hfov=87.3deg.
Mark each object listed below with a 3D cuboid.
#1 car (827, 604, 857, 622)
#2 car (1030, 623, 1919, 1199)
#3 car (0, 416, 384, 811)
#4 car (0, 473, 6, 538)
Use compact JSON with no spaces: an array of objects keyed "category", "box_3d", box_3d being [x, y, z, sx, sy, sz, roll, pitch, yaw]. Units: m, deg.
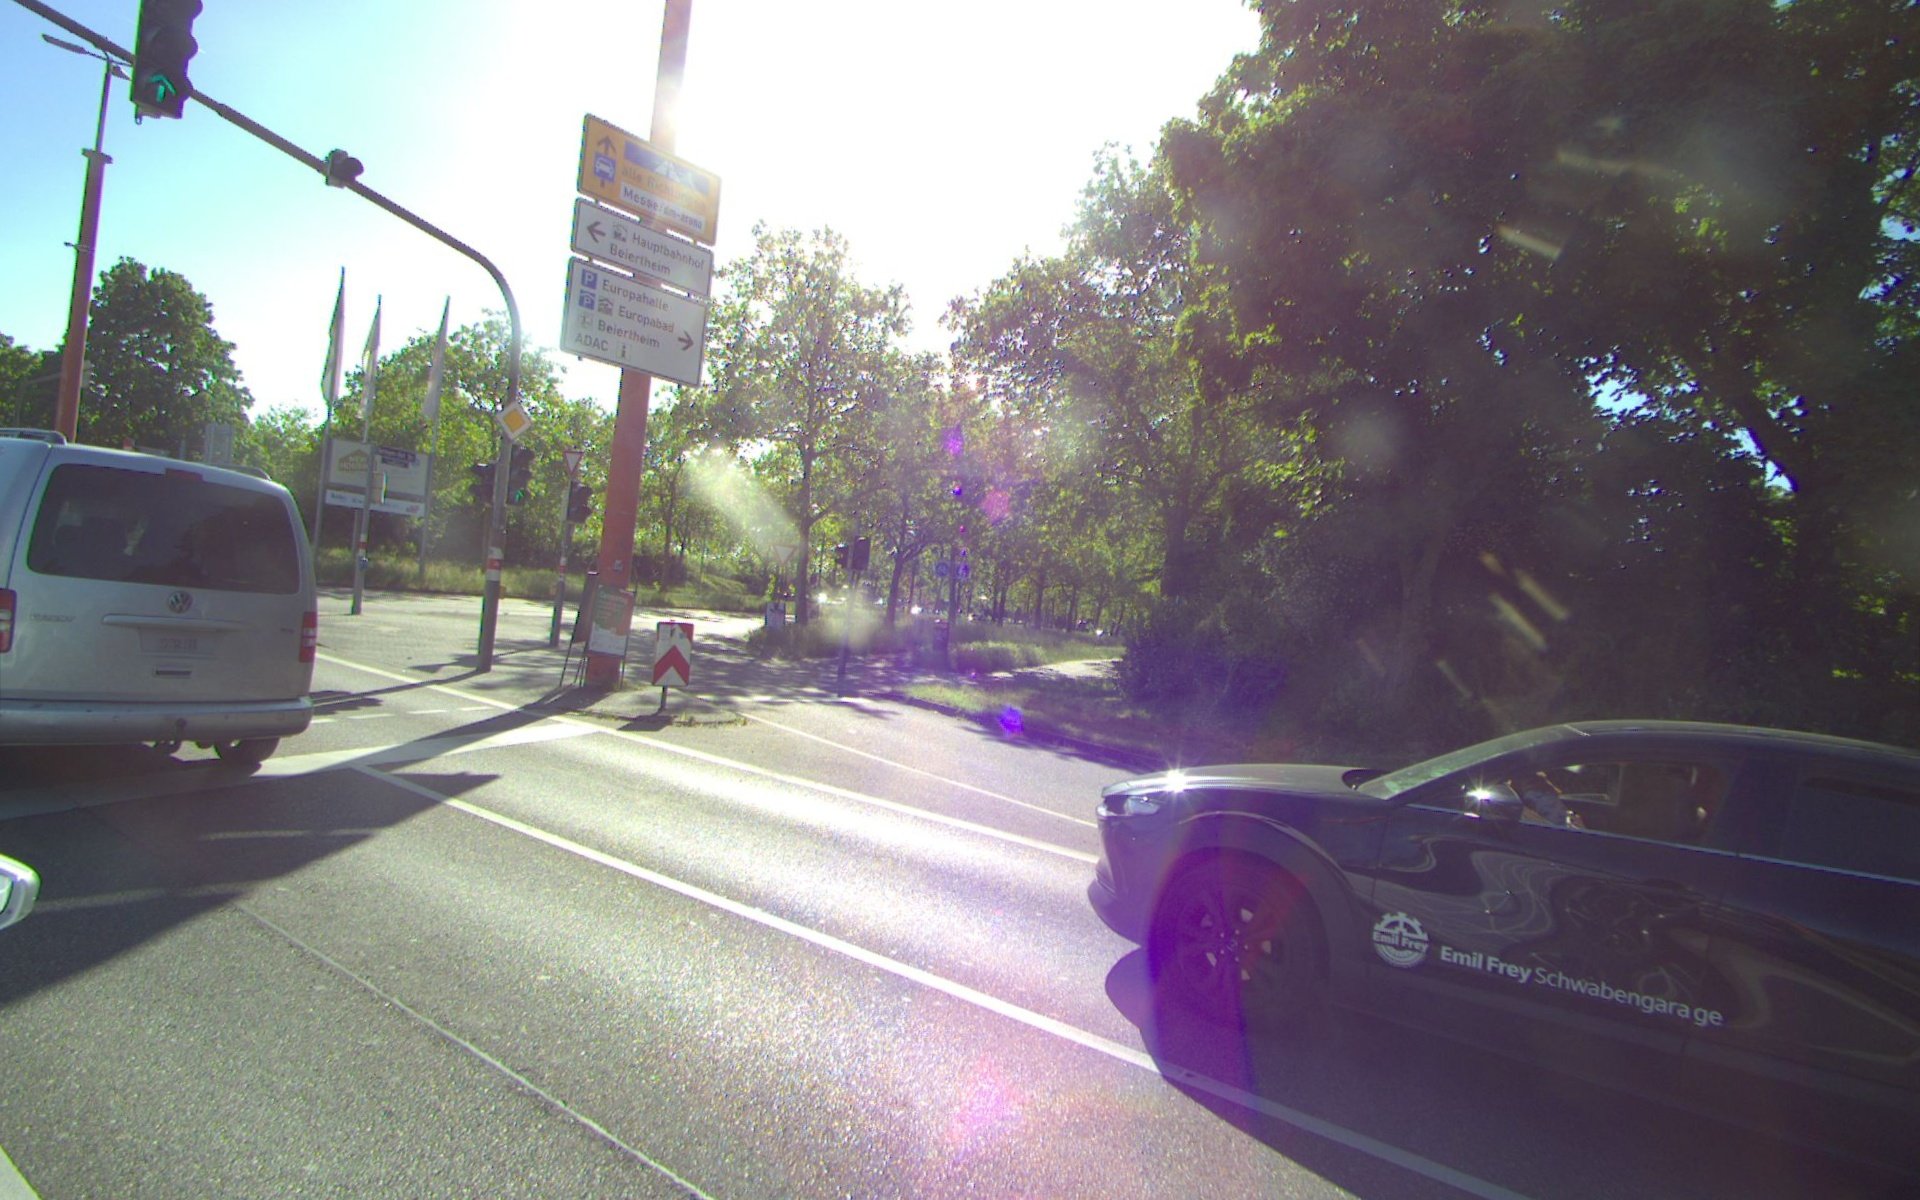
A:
[{"category":"car","box_3d":[-13.353,1.483,114.058,1.831,1.534,4.142,7,-2,15]},{"category":"car","box_3d":[2.615,1.139,4.255,4.157,1.525,1.771,6,-2,33]},{"category":"car","box_3d":[-6.001,-0.061,6.544,4.510,1.843,1.808,6,-1,31]},{"category":"car","box_3d":[-19.252,-1.573,18.067,5.019,1.875,1.806,7,0,32]}]
